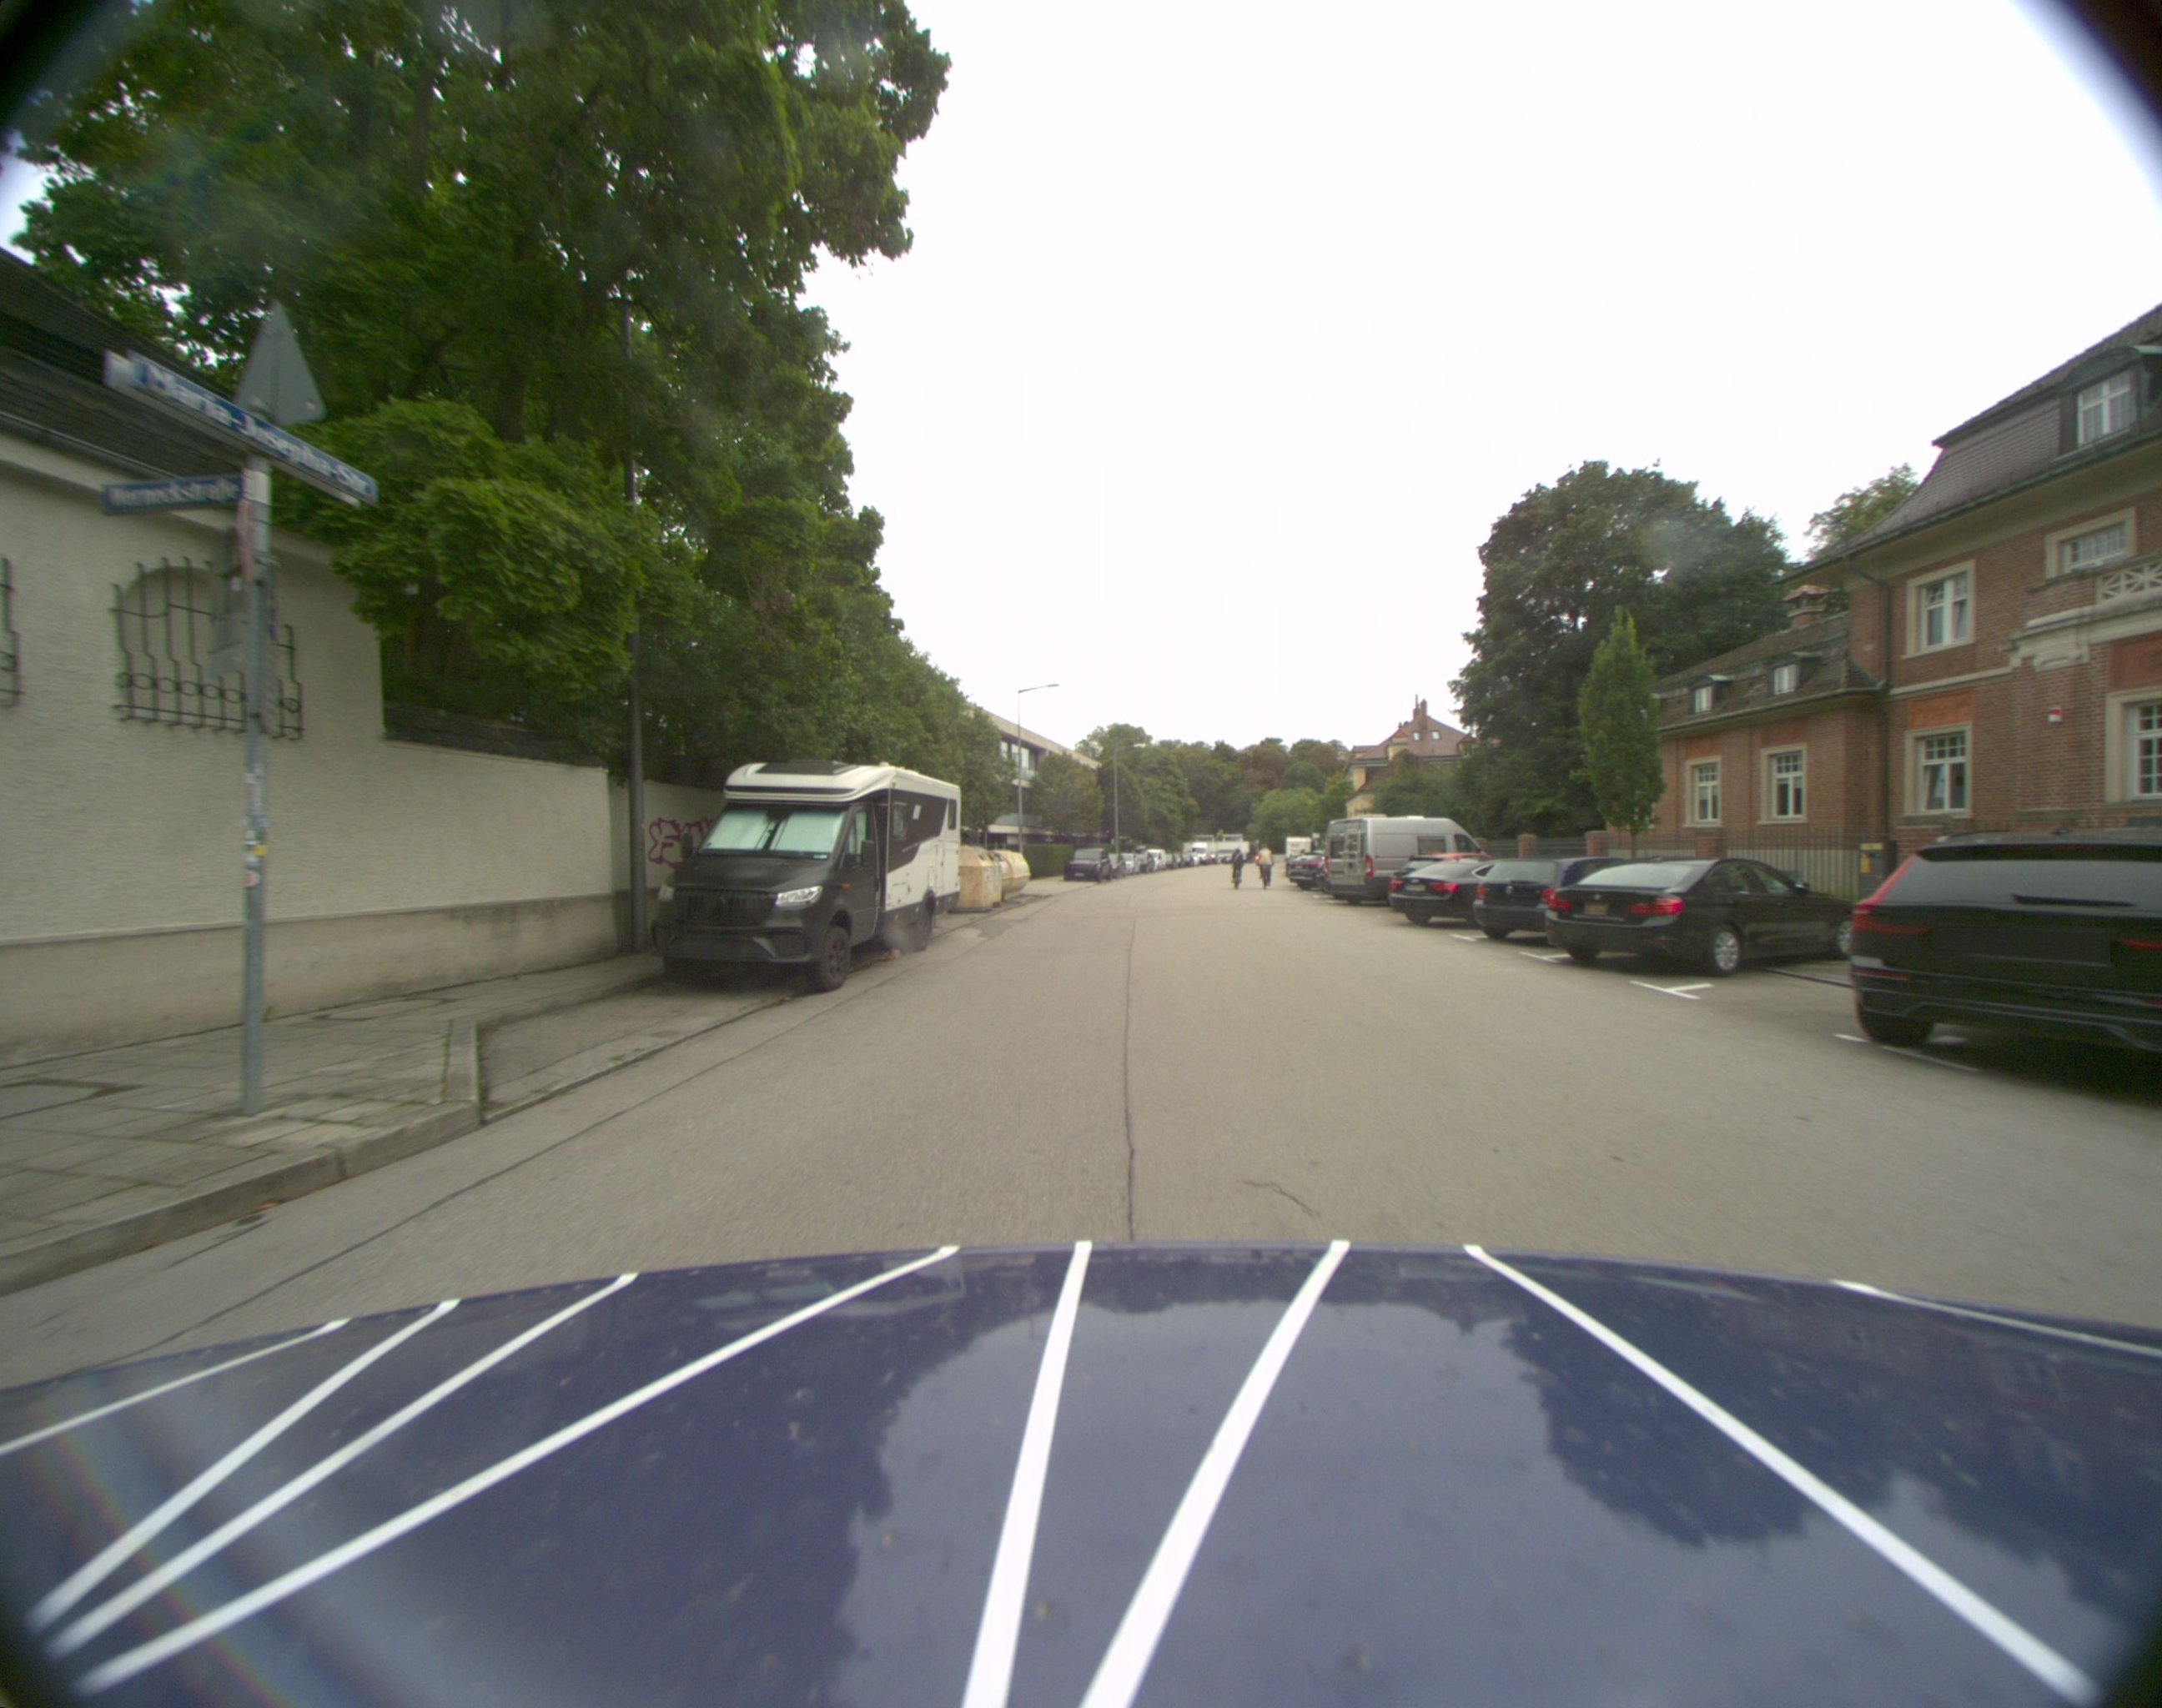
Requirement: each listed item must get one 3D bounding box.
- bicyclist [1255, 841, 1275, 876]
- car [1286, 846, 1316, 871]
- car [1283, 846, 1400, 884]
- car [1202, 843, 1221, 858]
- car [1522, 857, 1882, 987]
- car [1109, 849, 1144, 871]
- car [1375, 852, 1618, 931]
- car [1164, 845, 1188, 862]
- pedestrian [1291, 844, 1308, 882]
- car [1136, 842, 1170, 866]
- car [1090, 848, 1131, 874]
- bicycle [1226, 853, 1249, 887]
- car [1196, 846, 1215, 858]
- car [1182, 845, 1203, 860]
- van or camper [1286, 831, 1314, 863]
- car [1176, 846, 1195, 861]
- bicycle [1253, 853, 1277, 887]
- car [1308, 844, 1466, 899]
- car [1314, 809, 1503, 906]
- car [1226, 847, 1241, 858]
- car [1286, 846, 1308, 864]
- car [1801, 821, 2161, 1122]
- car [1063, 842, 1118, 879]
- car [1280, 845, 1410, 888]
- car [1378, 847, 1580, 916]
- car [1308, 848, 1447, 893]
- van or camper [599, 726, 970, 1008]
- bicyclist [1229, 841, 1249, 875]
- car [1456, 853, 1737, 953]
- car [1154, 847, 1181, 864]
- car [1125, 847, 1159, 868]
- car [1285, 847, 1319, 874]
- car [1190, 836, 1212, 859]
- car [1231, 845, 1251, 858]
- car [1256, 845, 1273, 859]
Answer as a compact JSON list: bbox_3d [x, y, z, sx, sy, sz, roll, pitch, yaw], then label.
[{"bbox_3d":[7.384,0.181,30.537,0.698,1.389,0.931,-1,1,8],"label":"bicyclist"},{"bbox_3d":[14.935,0.268,51.647,1.847,1.526,4.526,2,1,16],"label":"car"},{"bbox_3d":[11.080,0.456,32.551,4.341,1.521,1.933,-1,2,2],"label":"car"},{"bbox_3d":[17.621,-0.461,102.390,1.937,1.894,5.078,2,1,17],"label":"car"},{"bbox_3d":[8.367,0.772,10.227,4.533,1.410,1.923,0,1,-25],"label":"car"},{"bbox_3d":[3.254,0.372,53.596,1.750,1.472,3.892,-1,1,15],"label":"car"},{"bbox_3d":[8.577,0.701,15.716,4.532,1.442,1.973,0,1,-22],"label":"car"},{"bbox_3d":[9.227,-0.056,73.736,1.729,1.520,4.209,1,1,15],"label":"car"},{"bbox_3d":[9.741,0.399,33.862,0.591,1.638,0.714,0,2,7],"label":"pedestrian"},{"bbox_3d":[6.008,0.016,62.975,1.825,1.850,4.904,-2,0,17],"label":"car"},{"bbox_3d":[1.915,0.390,48.022,1.750,1.530,4.574,-1,1,13],"label":"car"},{"bbox_3d":[6.244,0.626,30.341,0.708,1.298,2.119,-1,1,7],"label":"bicycle"},{"bbox_3d":[16.004,-0.258,97.404,1.873,1.498,4.843,2,1,14],"label":"car"},{"bbox_3d":[12.473,-0.200,84.945,1.873,1.560,5.006,2,0,13],"label":"car"},{"bbox_3d":[21.613,-0.727,74.826,2.458,2.924,7.220,1,1,17],"label":"van or camper"},{"bbox_3d":[10.882,-0.068,78.937,1.282,1.497,5.213,2,1,15],"label":"car"},{"bbox_3d":[7.421,0.644,30.723,0.708,1.298,2.119,-1,1,8],"label":"bicycle"},{"bbox_3d":[9.939,0.535,24.716,4.531,1.616,1.963,0,2,-18],"label":"car"},{"bbox_3d":[9.331,0.090,21.742,4.641,2.548,2.230,0,1,-18],"label":"car"},{"bbox_3d":[22.575,-0.187,112.709,1.895,1.438,4.273,-3,-1,9],"label":"car"},{"bbox_3d":[19.121,0.045,67.188,1.780,1.526,4.232,2,1,16],"label":"car"},{"bbox_3d":[7.784,0.635,5.607,4.533,1.655,1.983,0,2,-25],"label":"car"},{"bbox_3d":[0.618,0.312,42.800,1.991,1.860,5.082,-1,1,13],"label":"car"},{"bbox_3d":[10.364,0.476,29.876,4.531,1.585,1.962,0,1,-18],"label":"car"},{"bbox_3d":[9.976,0.614,19.071,4.531,1.508,1.934,-1,1,-20],"label":"car"},{"bbox_3d":[10.671,0.569,27.396,4.426,1.478,1.830,0,2,-17],"label":"car"},{"bbox_3d":[-3.608,0.110,11.502,2.277,2.889,7.278,-1,1,4],"label":"van or camper"},{"bbox_3d":[6.269,0.145,30.215,0.698,1.344,0.930,-1,1,7],"label":"bicyclist"},{"bbox_3d":[8.745,0.729,12.871,4.533,1.442,1.816,0,1,-25],"label":"car"},{"bbox_3d":[7.830,0.117,68.578,1.750,1.455,4.247,0,1,15],"label":"car"},{"bbox_3d":[4.685,0.252,57.992,1.750,1.472,4.603,-1,0,16],"label":"car"},{"bbox_3d":[13.595,0.359,46.910,1.847,1.526,4.566,2,1,14],"label":"car"},{"bbox_3d":[14.467,-0.752,91.350,2.082,2.671,6.095,2,1,14],"label":"car"},{"bbox_3d":[22.255,-0.290,105.554,1.995,1.683,4.341,-2,-1,22],"label":"car"},{"bbox_3d":[20.663,-0.256,85.500,1.775,1.466,4.137,-1,1,14],"label":"car"}]
